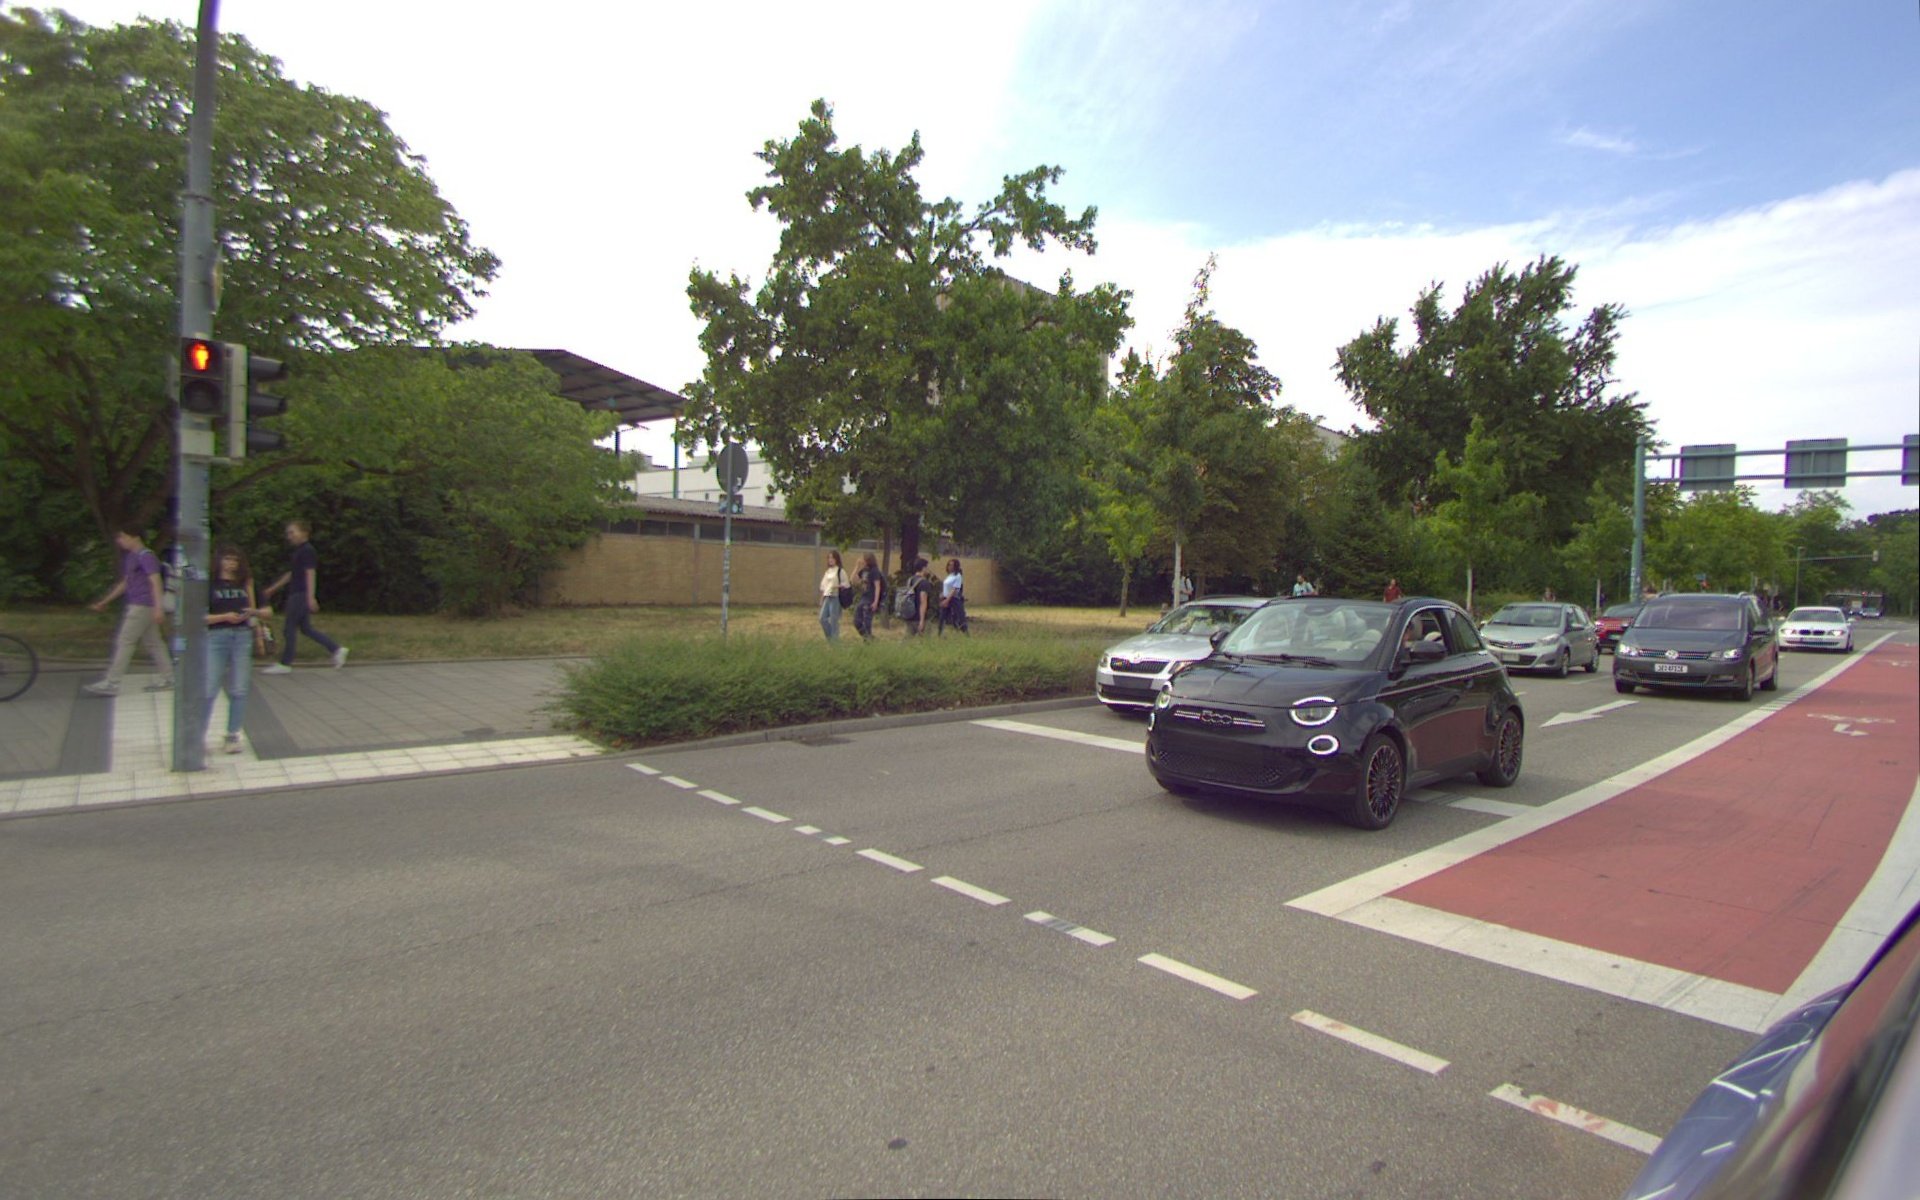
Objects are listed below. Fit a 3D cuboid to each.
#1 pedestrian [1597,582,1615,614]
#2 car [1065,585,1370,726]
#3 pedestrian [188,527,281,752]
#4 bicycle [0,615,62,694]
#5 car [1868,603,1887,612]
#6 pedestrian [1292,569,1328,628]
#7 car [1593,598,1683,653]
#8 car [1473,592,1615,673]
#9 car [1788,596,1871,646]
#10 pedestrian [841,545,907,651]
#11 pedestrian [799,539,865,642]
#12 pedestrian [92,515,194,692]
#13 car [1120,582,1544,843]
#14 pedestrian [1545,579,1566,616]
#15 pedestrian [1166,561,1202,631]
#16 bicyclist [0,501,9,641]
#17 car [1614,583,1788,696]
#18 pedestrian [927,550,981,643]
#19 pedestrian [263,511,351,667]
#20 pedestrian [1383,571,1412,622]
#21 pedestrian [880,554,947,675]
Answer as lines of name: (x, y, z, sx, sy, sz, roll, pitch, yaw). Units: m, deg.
pedestrian: (35.069, -0.094, 54.923, 0.712, 1.732, 0.684, 0, 0, 45)
car: (3.446, 0.560, 12.957, 1.820, 1.493, 4.456, 0, 1, 44)
pedestrian: (-5.847, 0.297, 8.158, 0.577, 1.732, 0.480, 0, 0, -40)
bicycle: (-9.515, 0.517, 9.354, 1.813, 0.702, 0.842, -1, 0, -42)
car: (158.232, 1.255, 174.484, 3.931, 1.594, 1.996, -1, 0, -42)
pedestrian: (10.548, -0.056, 30.507, 0.839, 1.732, 0.684, 0, 0, 42)
car: (19.515, 0.687, 29.080, 1.665, 1.433, 3.404, 0, 0, 43)
car: (12.190, 0.593, 21.037, 1.666, 1.508, 3.814, 0, 0, 44)
car: (27.616, 0.614, 32.096, 1.755, 1.476, 4.156, 0, 1, 44)
pedestrian: (-1.451, -0.039, 17.131, 0.832, 1.732, 0.791, 0, 0, 30)
pedestrian: (-2.226, -0.158, 17.594, 0.832, 1.732, 0.791, 0, 0, 30)
pedestrian: (-8.451, 0.027, 10.464, 0.786, 1.732, 0.838, 0, 0, -42)
car: (2.927, 0.631, 7.661, 3.383, 1.508, 1.668, -1, 1, -43)
pedestrian: (28.307, -0.133, 48.118, 0.712, 1.732, 0.684, 0, 0, 45)
pedestrian: (5.618, -0.114, 25.369, 0.542, 1.716, 0.684, 4, 3, 41)
bicyclist: (-9.491, -0.270, 9.354, 0.996, 1.293, 0.838, 0, 0, -42)
car: (12.669, 0.557, 17.177, 1.755, 1.671, 4.611, 0, 0, 44)
pedestrian: (-0.117, -0.069, 19.470, 0.712, 1.732, 0.788, 0, 0, 41)
pedestrian: (-8.035, -0.130, 12.446, 0.786, 1.831, 0.838, 0, 0, -42)
pedestrian: (14.863, -0.125, 34.368, 0.712, 1.732, 0.684, 0, 0, 45)
pedestrian: (-0.690, 0.199, 14.949, 0.681, 1.732, 0.733, 0, 0, -42)
